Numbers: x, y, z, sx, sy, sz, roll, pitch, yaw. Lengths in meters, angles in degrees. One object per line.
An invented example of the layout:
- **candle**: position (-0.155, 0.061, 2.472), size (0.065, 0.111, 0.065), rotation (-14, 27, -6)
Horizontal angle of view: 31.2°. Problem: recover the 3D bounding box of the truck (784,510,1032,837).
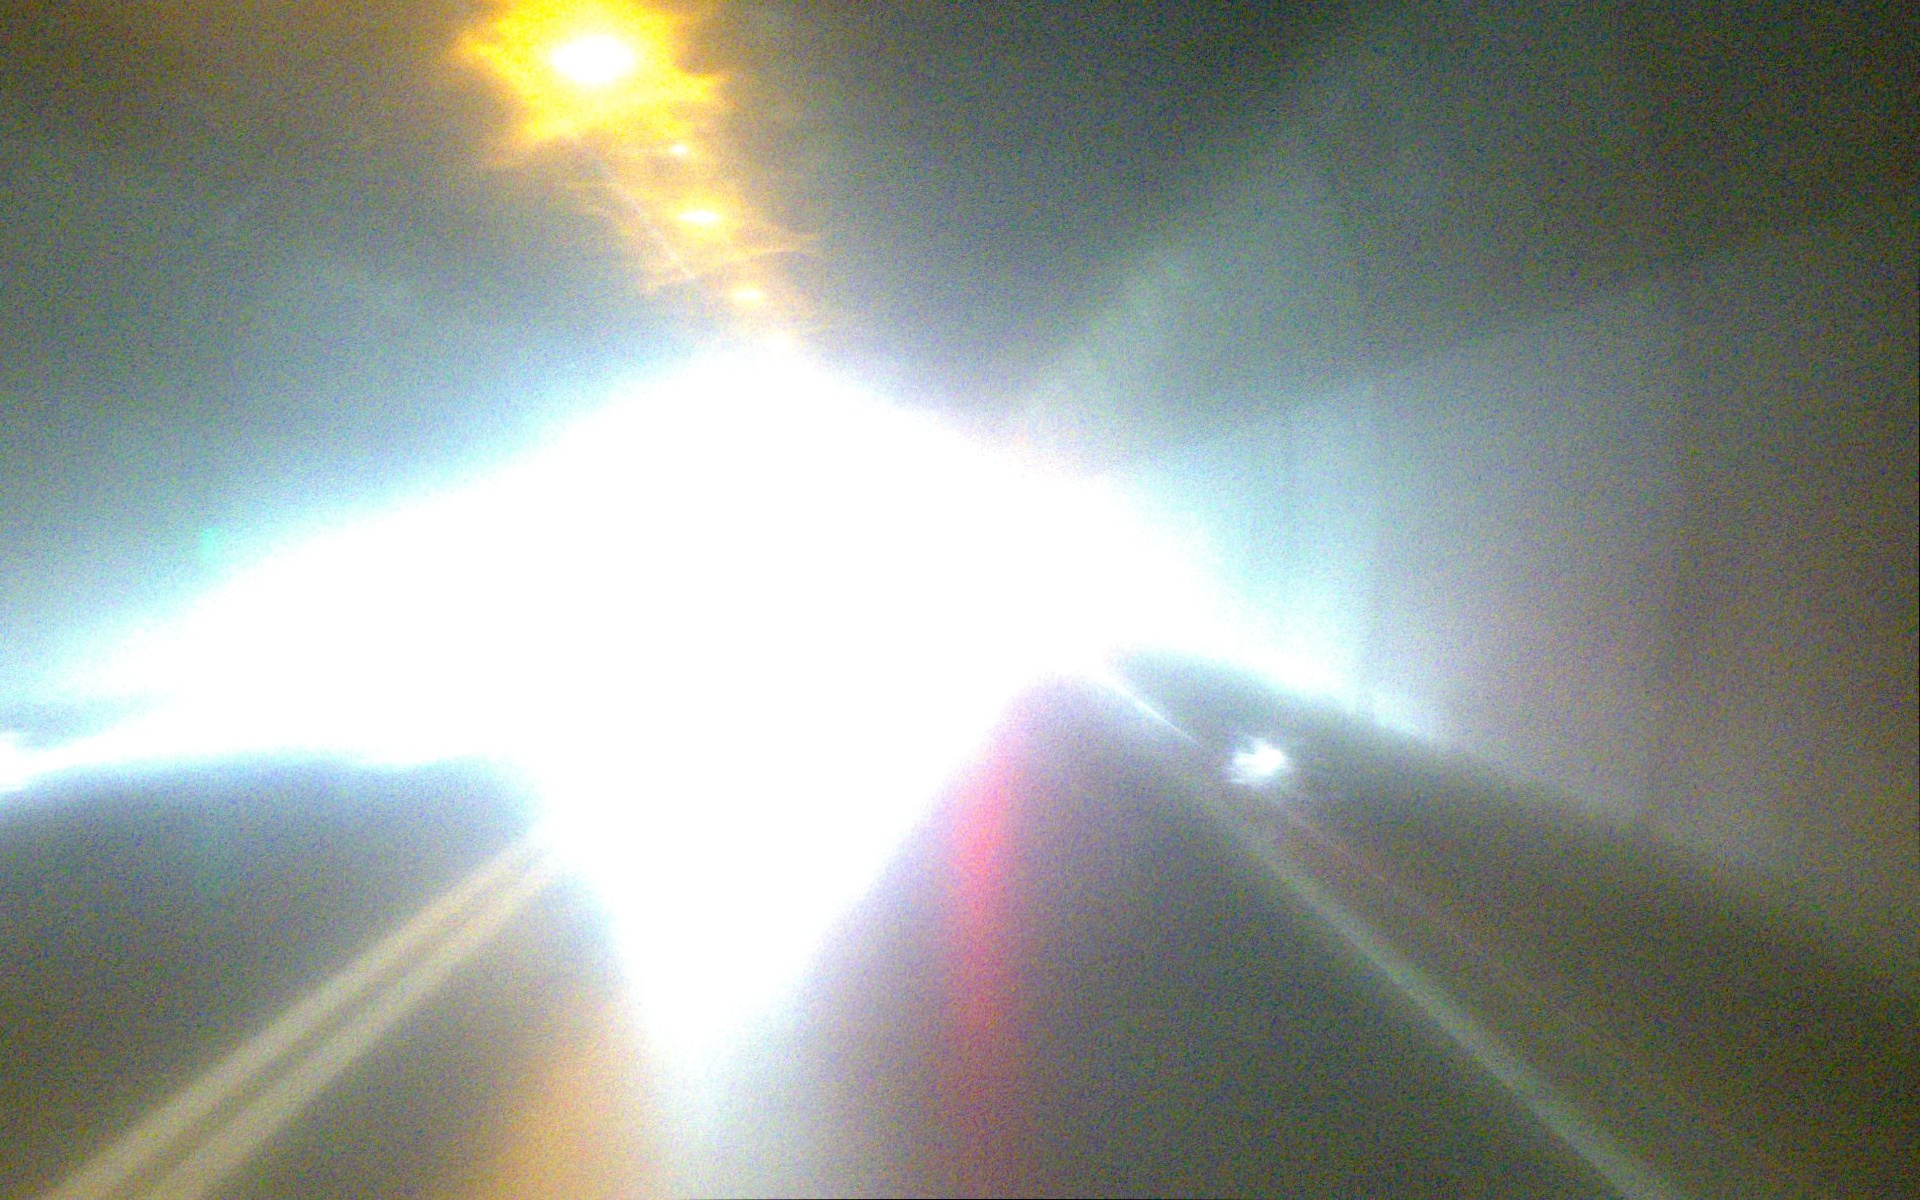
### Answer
- **truck**: position (-0.528, 0.634, 35.564), size (2.262, 3.000, 7.415), rotation (1, 1, -1)
